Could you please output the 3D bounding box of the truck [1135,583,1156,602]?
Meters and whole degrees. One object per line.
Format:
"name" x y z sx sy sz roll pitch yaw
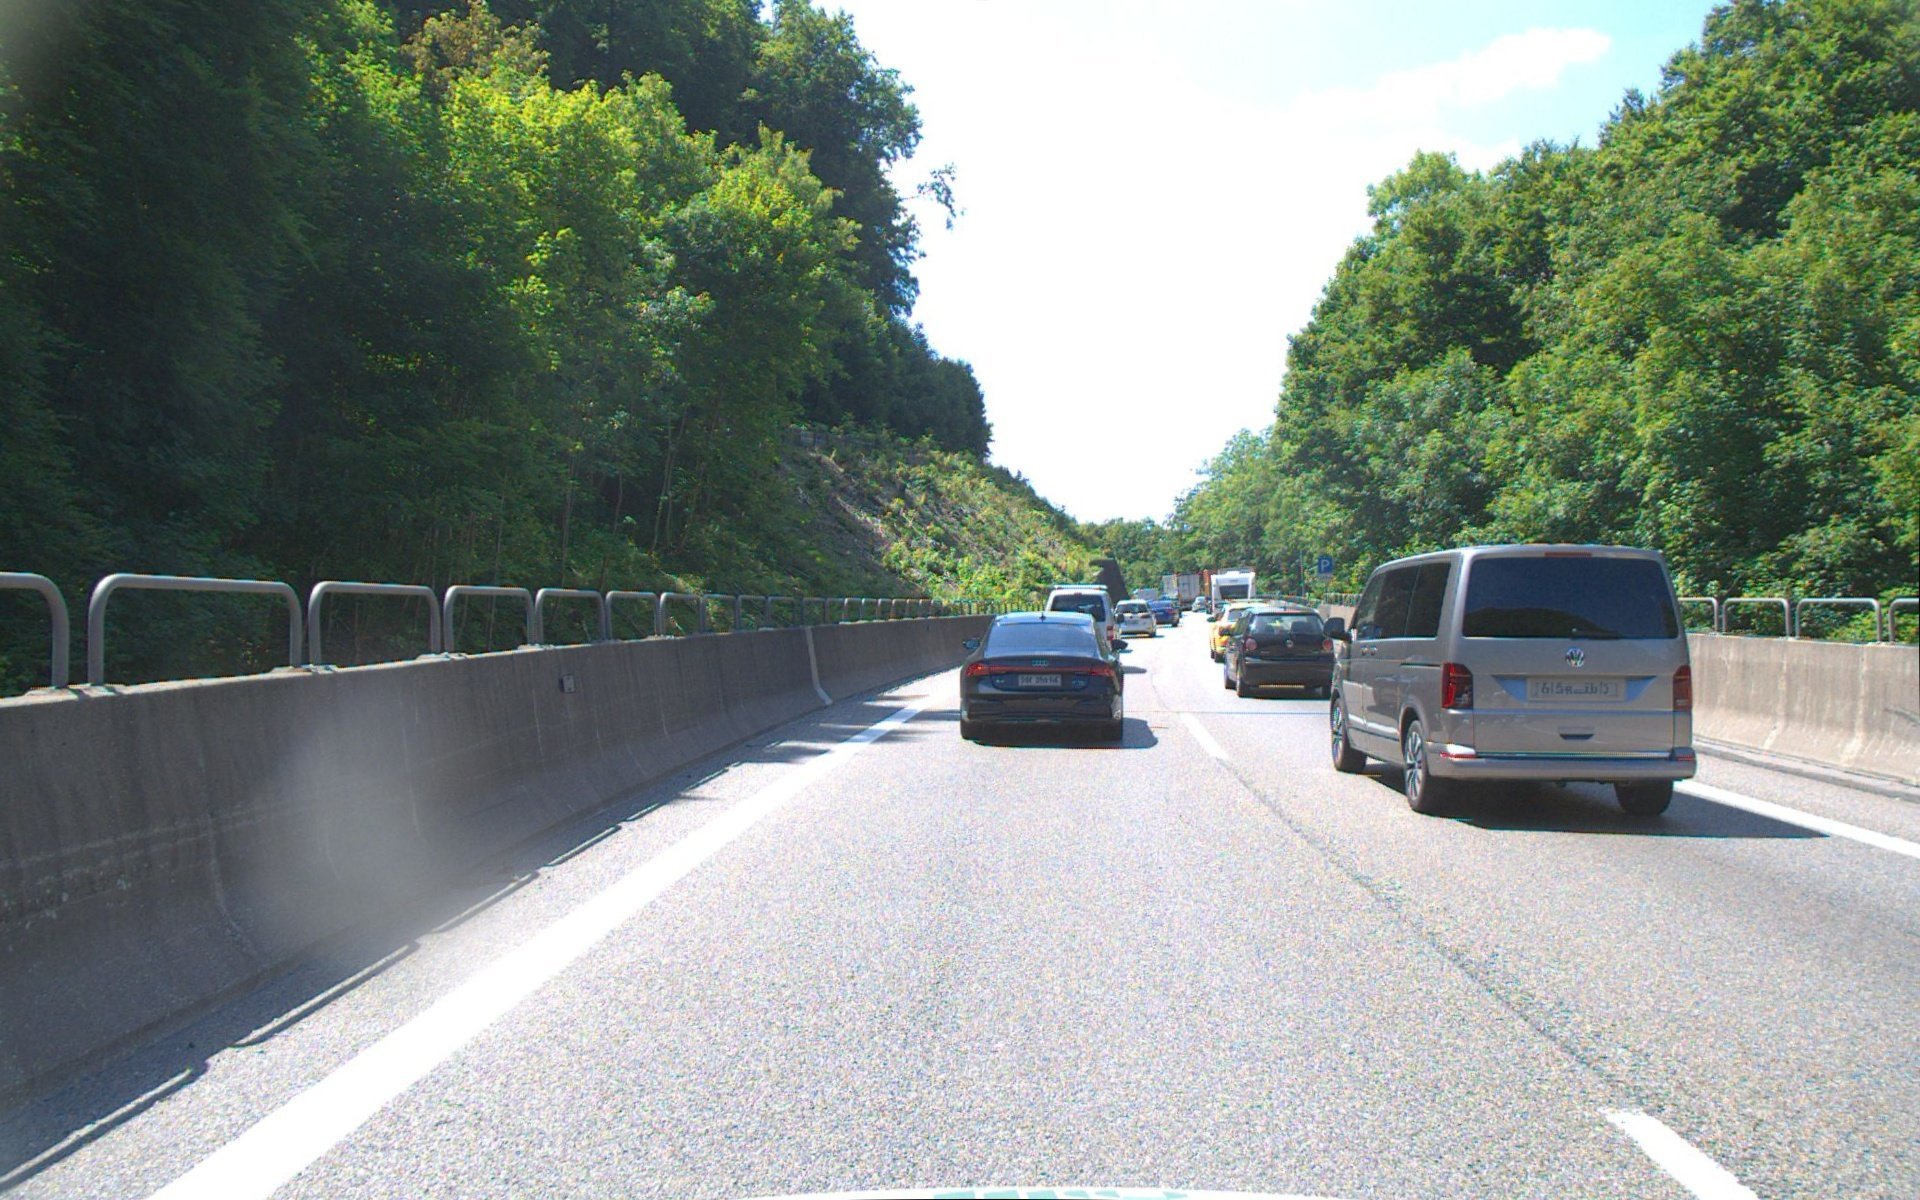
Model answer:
"truck" 20.130 -0.792 179.284 1.952 2.049 4.001 0 0 2

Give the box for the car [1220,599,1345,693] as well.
"car" 5.451 0.745 28.357 1.649 1.484 4.002 0 0 4

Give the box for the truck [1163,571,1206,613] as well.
"truck" 24.876 -0.804 183.768 3.635 4.583 7.721 0 0 -1

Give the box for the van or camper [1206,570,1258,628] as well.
"van or camper" 14.191 -0.024 86.411 2.548 2.905 6.341 -1 0 9

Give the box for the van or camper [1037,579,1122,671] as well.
"van or camper" 2.774 0.543 37.830 1.814 1.976 4.167 0 0 5

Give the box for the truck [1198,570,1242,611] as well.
"truck" 22.771 -0.776 145.230 3.097 3.529 8.225 0 0 3

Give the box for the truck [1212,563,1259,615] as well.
"truck" 20.413 -0.797 122.977 2.863 3.752 7.729 0 0 5

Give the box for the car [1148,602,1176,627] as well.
"car" 12.985 0.937 106.168 1.713 1.598 3.774 -1 0 8

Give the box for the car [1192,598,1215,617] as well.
"car" 24.274 0.746 165.219 1.952 1.892 4.002 0 0 3

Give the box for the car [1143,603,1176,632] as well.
"car" 11.101 0.959 91.818 1.713 1.598 3.774 -1 0 8

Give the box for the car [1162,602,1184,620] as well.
"car" 19.303 1.007 150.199 1.714 1.598 3.773 0 0 4

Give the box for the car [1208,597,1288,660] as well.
"car" 7.276 0.695 42.023 1.770 1.503 4.084 -1 0 7

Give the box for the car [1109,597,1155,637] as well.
"car" 7.183 0.688 69.344 1.855 1.612 3.773 0 0 4

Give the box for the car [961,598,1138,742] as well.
"car" 0.972 0.755 19.814 1.865 1.515 4.379 0 0 0

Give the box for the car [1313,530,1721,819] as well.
"car" 4.314 0.524 13.687 1.900 1.965 4.695 0 0 2

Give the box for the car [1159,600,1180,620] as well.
"car" 17.263 0.832 136.213 1.713 1.598 3.774 -1 0 8
